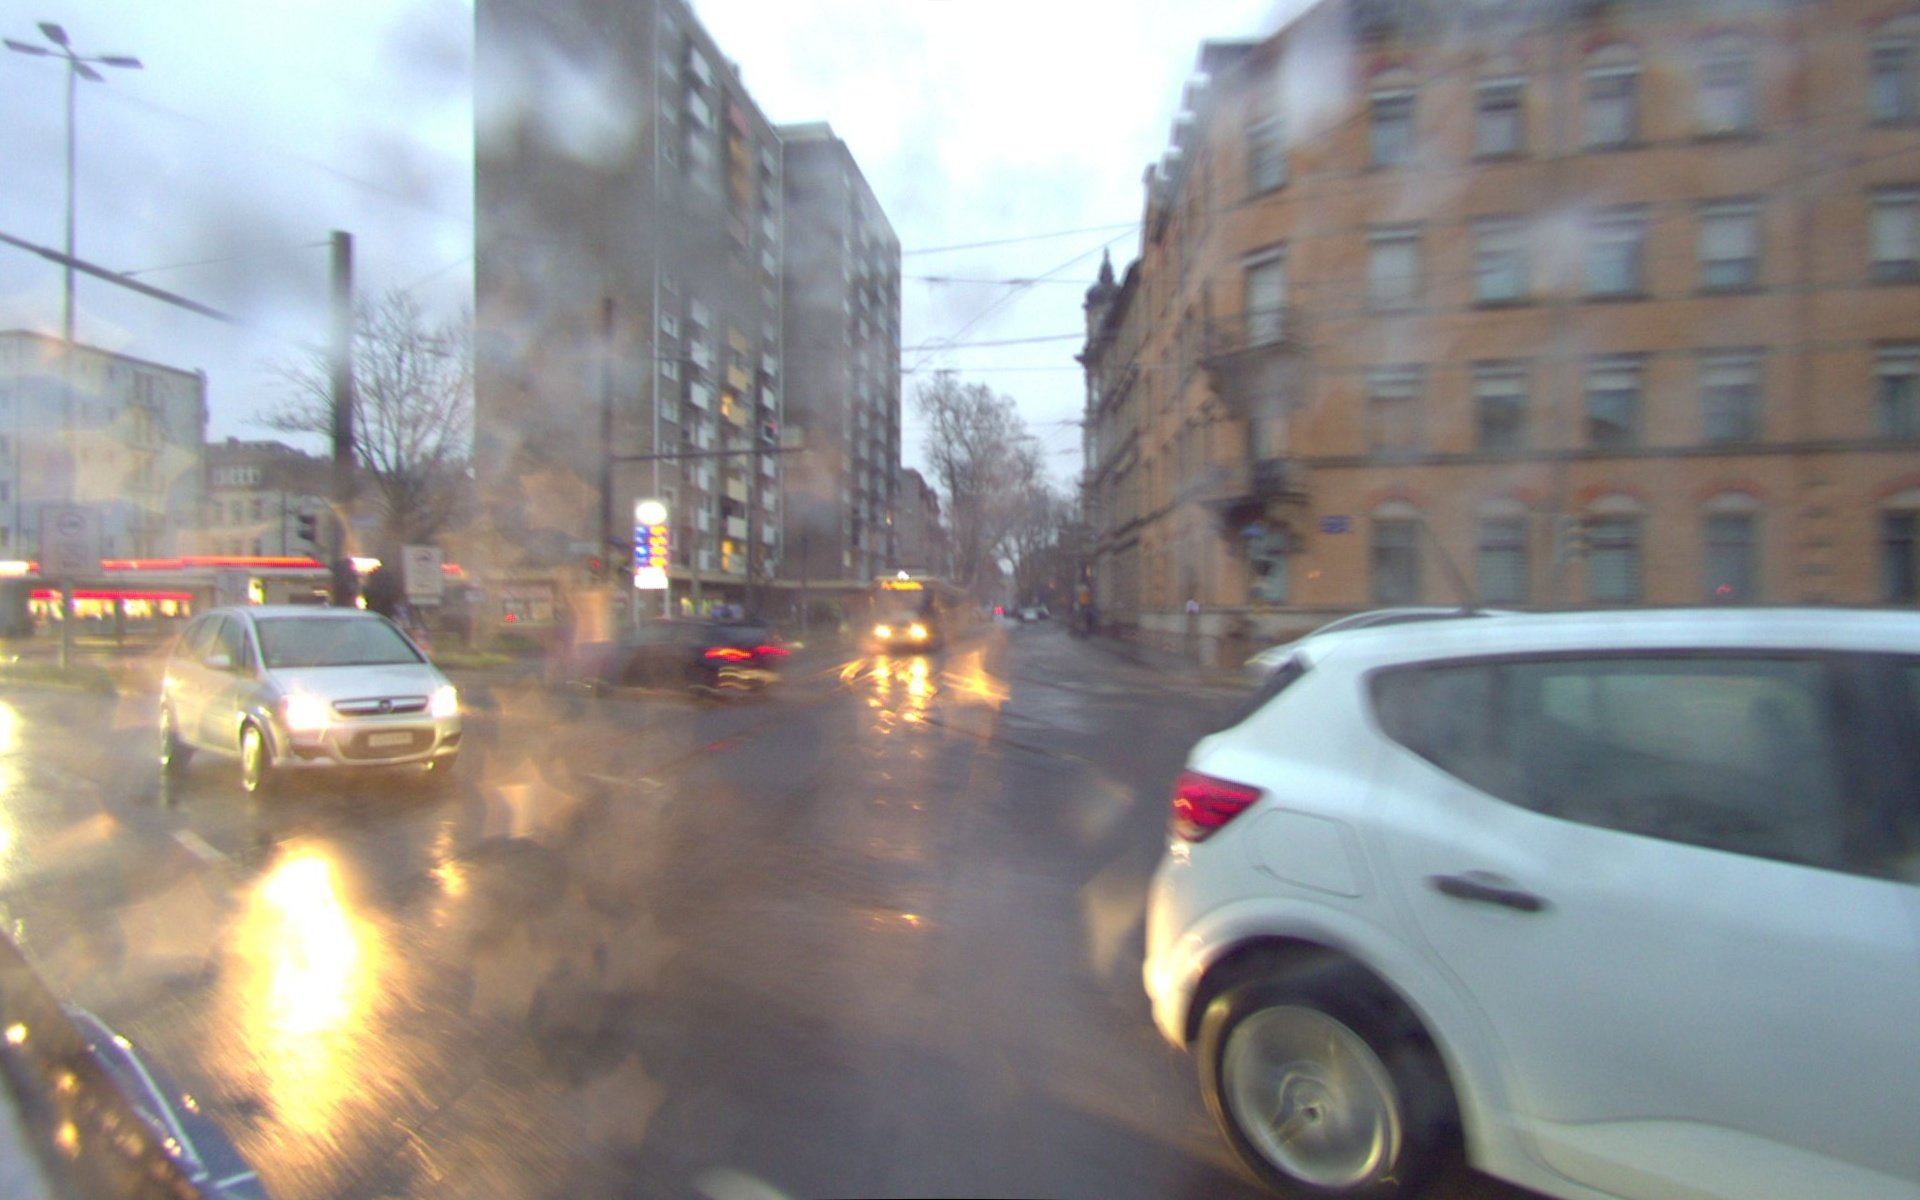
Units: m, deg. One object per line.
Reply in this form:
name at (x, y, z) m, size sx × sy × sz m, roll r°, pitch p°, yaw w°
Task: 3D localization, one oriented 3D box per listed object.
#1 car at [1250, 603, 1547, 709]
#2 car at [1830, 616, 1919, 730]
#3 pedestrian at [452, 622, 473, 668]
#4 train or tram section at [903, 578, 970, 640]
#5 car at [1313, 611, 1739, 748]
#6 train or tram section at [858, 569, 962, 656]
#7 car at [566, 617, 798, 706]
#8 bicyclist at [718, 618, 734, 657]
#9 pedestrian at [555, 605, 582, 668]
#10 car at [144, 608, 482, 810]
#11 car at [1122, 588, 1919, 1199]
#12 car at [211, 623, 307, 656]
car at (7.027, 0.853, 16.380) m, size 4.211 × 1.537 × 1.668 m, roll -1°, pitch -1°, yaw 30°
car at (13.626, 0.901, 12.788) m, size 3.589 × 1.402 × 1.673 m, roll -1°, pitch -1°, yaw 22°
pedestrian at (-19.873, 1.802, 40.439) m, size 0.525 × 1.806 × 0.628 m, roll -1°, pitch -1°, yaw 0°
train or tram section at (-1.222, 0.460, 59.762) m, size 3.127 × 3.262 × 11.141 m, roll -1°, pitch 0°, yaw 3°
car at (6.668, 0.901, 12.478) m, size 4.305 × 1.468 × 1.673 m, roll -1°, pitch -1°, yaw 22°
train or tram section at (-1.857, 0.441, 46.065) m, size 3.127 × 3.212 × 16.295 m, roll -1°, pitch 0°, yaw 3°
car at (-5.069, 1.050, 18.355) m, size 4.044 × 1.468 × 1.669 m, roll -1°, pitch -1°, yaw 28°
bicyclist at (-8.656, 1.385, 37.393) m, size 0.498 × 1.401 × 0.972 m, roll -1°, pitch -1°, yaw -15°
pedestrian at (-11.233, 1.034, 29.018) m, size 0.627 × 1.785 × 0.463 m, roll -1°, pitch -1°, yaw 34°
car at (-6.402, 0.887, 9.833) m, size 4.106 × 1.560 × 1.629 m, roll -1°, pitch -1°, yaw 40°
car at (2.460, 0.723, 1.987) m, size 4.000 × 1.498 × 1.608 m, roll -2°, pitch -2°, yaw 43°
car at (-34.587, 1.923, 50.044) m, size 1.757 × 1.542 × 3.993 m, roll -1°, pitch -1°, yaw 6°
